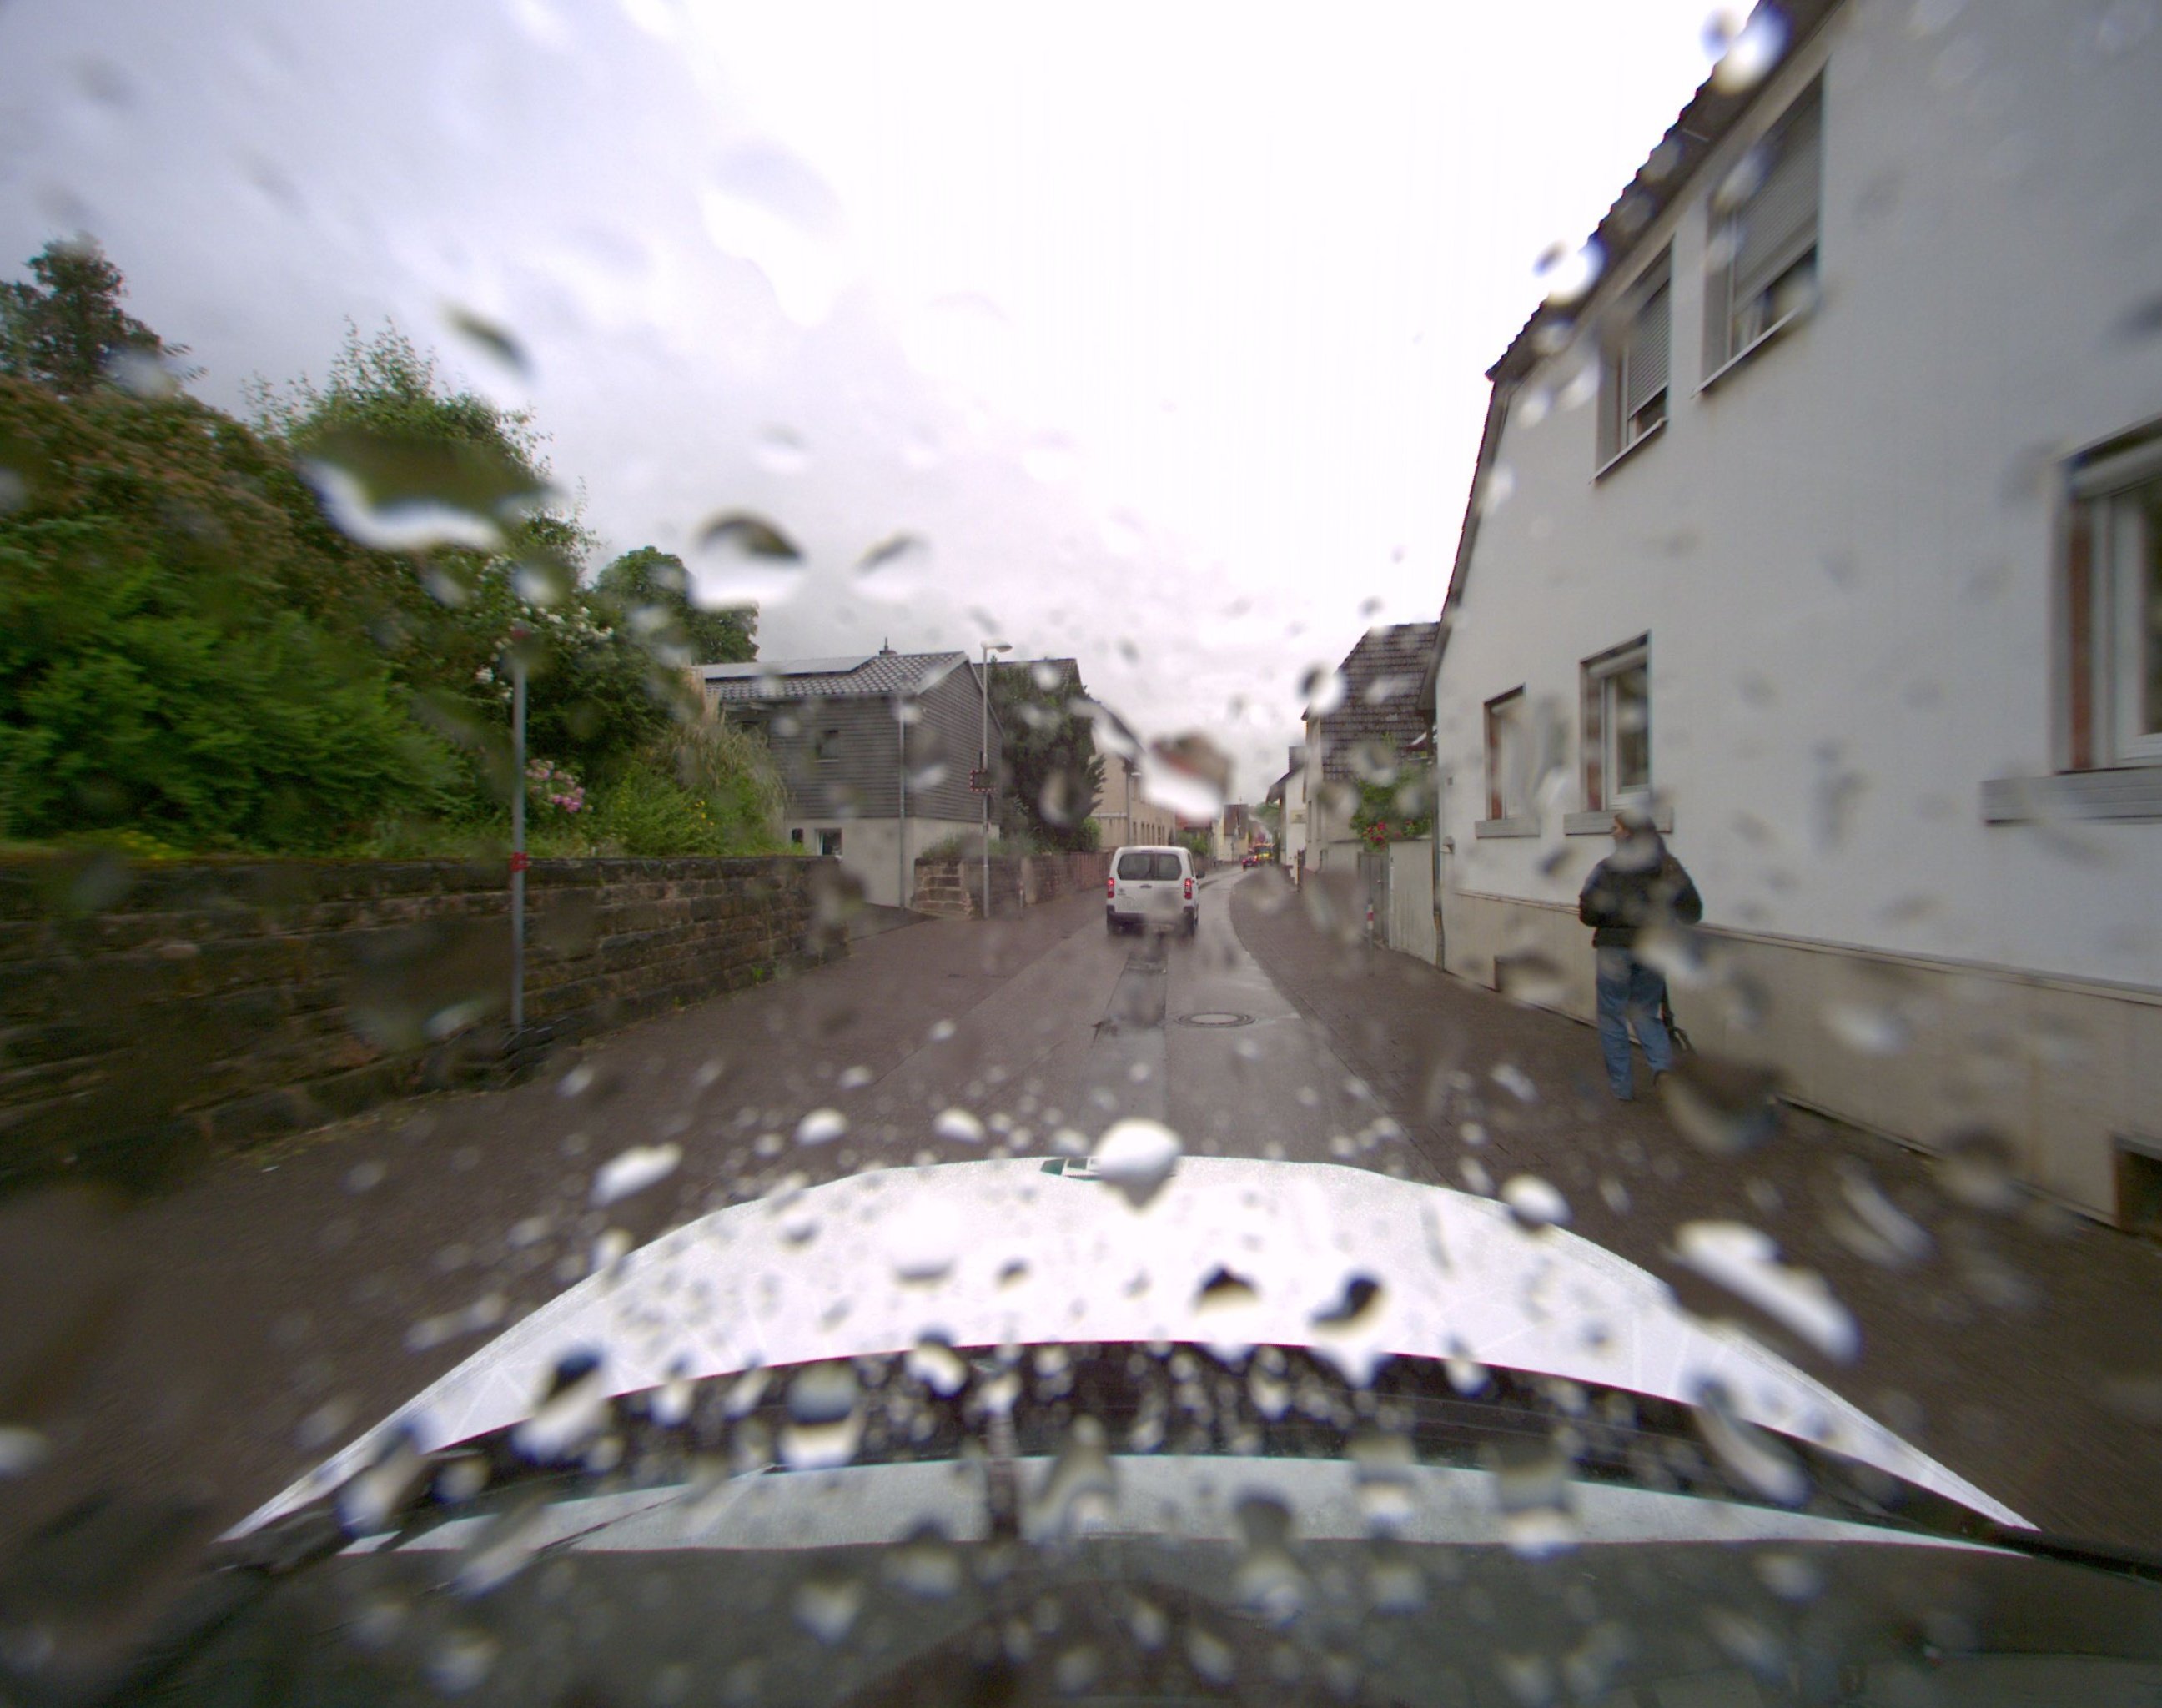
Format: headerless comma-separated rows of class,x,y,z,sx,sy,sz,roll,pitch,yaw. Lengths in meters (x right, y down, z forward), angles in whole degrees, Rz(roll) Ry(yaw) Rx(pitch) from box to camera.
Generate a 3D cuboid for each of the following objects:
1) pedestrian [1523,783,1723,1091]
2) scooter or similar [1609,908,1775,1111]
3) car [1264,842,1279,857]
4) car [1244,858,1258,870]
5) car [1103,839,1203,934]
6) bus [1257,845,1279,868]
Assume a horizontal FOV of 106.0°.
pedestrian,3.282,0.471,5.015,0.691,1.732,0.822,-1,-1,5
scooter or similar,3.663,0.880,4.961,0.244,1.028,1.101,-1,0,5
car,25.599,-0.574,109.546,1.814,2.014,3.708,1,-1,14
car,21.802,1.285,104.572,1.550,1.371,3.599,1,-1,15
car,1.700,0.649,17.814,1.784,1.819,4.113,1,-1,10
bus,26.841,0.402,116.807,2.773,3.180,8.209,2,0,14
